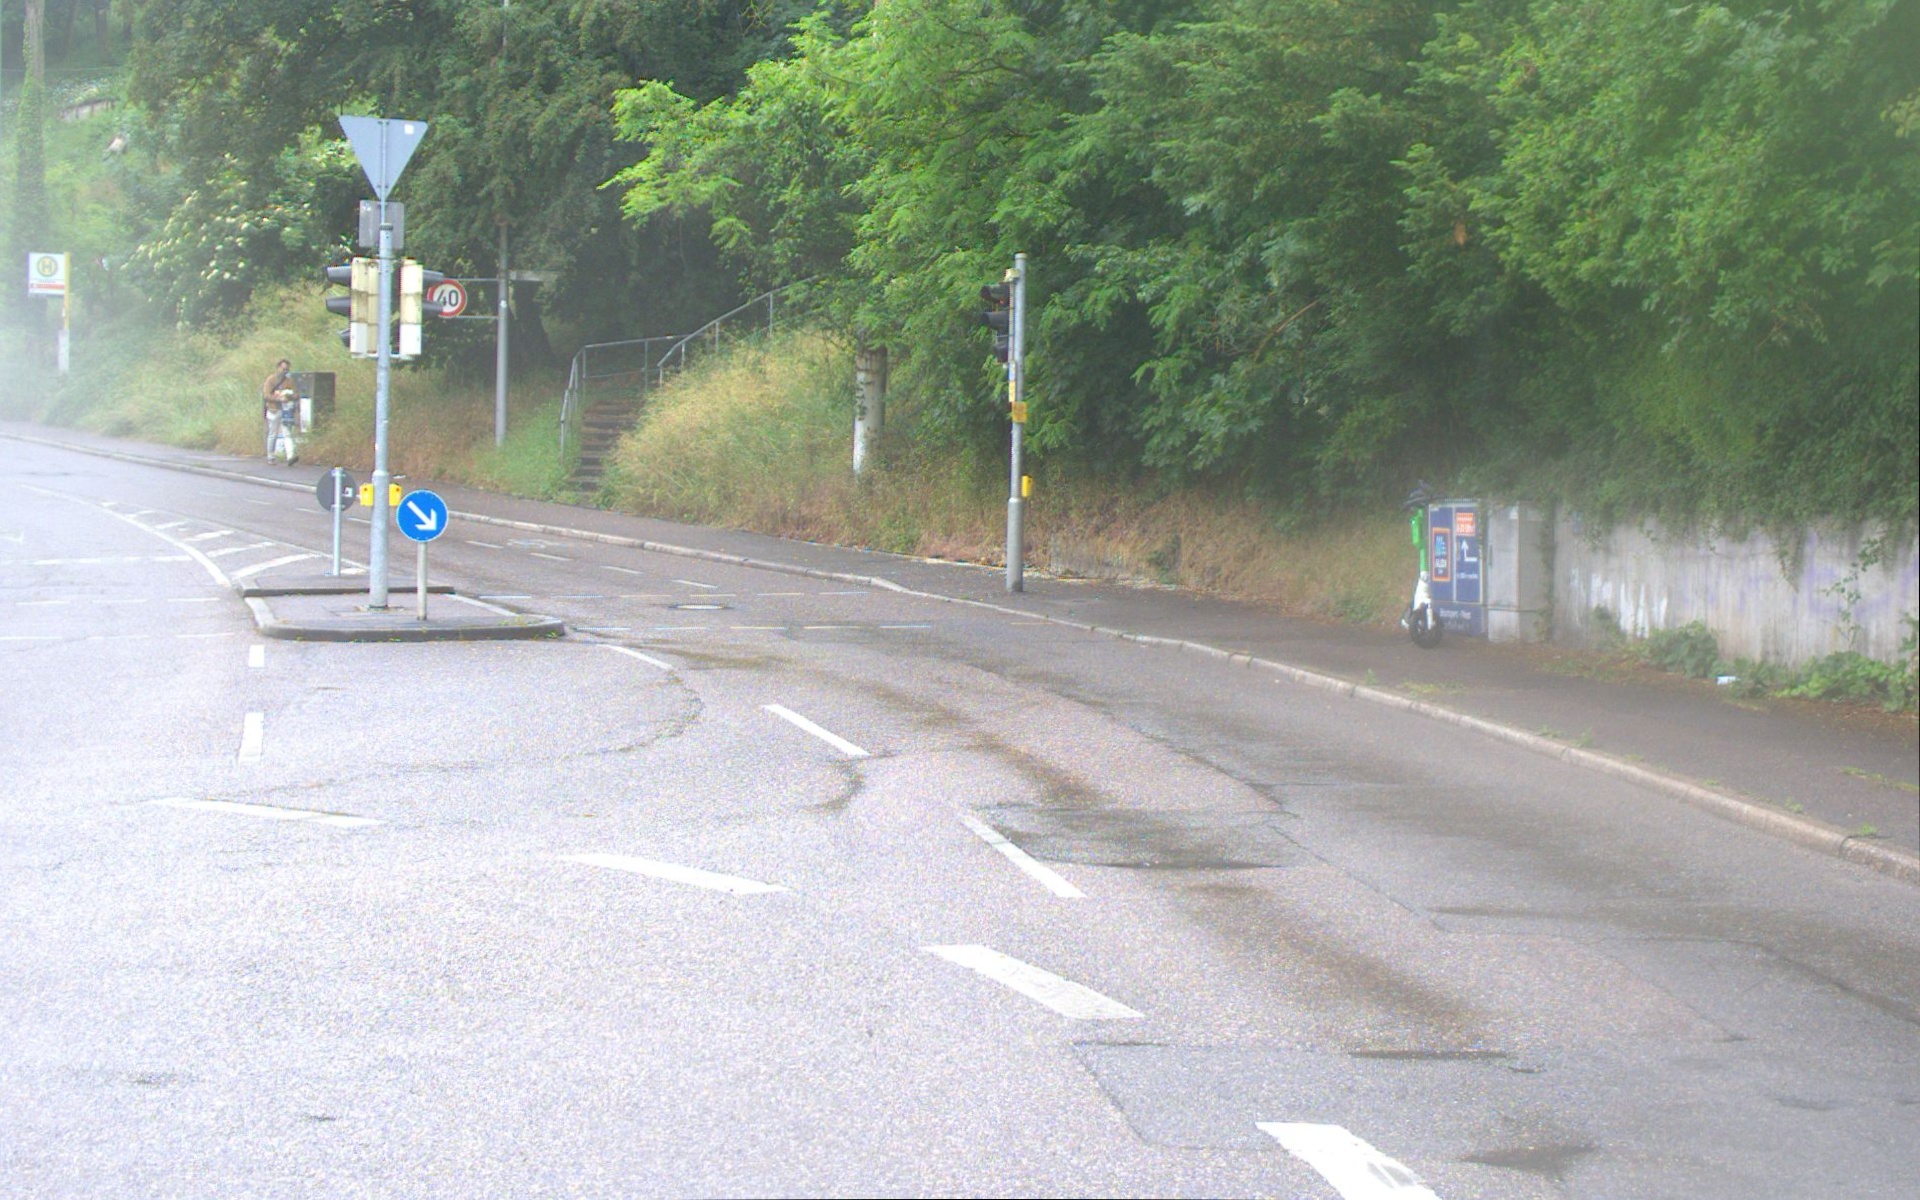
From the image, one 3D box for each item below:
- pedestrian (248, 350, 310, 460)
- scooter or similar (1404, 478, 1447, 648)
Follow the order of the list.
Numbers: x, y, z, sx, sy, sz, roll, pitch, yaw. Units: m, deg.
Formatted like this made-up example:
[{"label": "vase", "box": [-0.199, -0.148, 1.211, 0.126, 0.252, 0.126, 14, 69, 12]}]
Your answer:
[{"label": "pedestrian", "box": [-11.108, -3.168, 56.065, 0.880, 1.730, 0.866, 0, 0, -17]}, {"label": "scooter or similar", "box": [3.585, -0.294, 26.492, 0.322, 1.275, 0.751, 0, 4, 7]}]
